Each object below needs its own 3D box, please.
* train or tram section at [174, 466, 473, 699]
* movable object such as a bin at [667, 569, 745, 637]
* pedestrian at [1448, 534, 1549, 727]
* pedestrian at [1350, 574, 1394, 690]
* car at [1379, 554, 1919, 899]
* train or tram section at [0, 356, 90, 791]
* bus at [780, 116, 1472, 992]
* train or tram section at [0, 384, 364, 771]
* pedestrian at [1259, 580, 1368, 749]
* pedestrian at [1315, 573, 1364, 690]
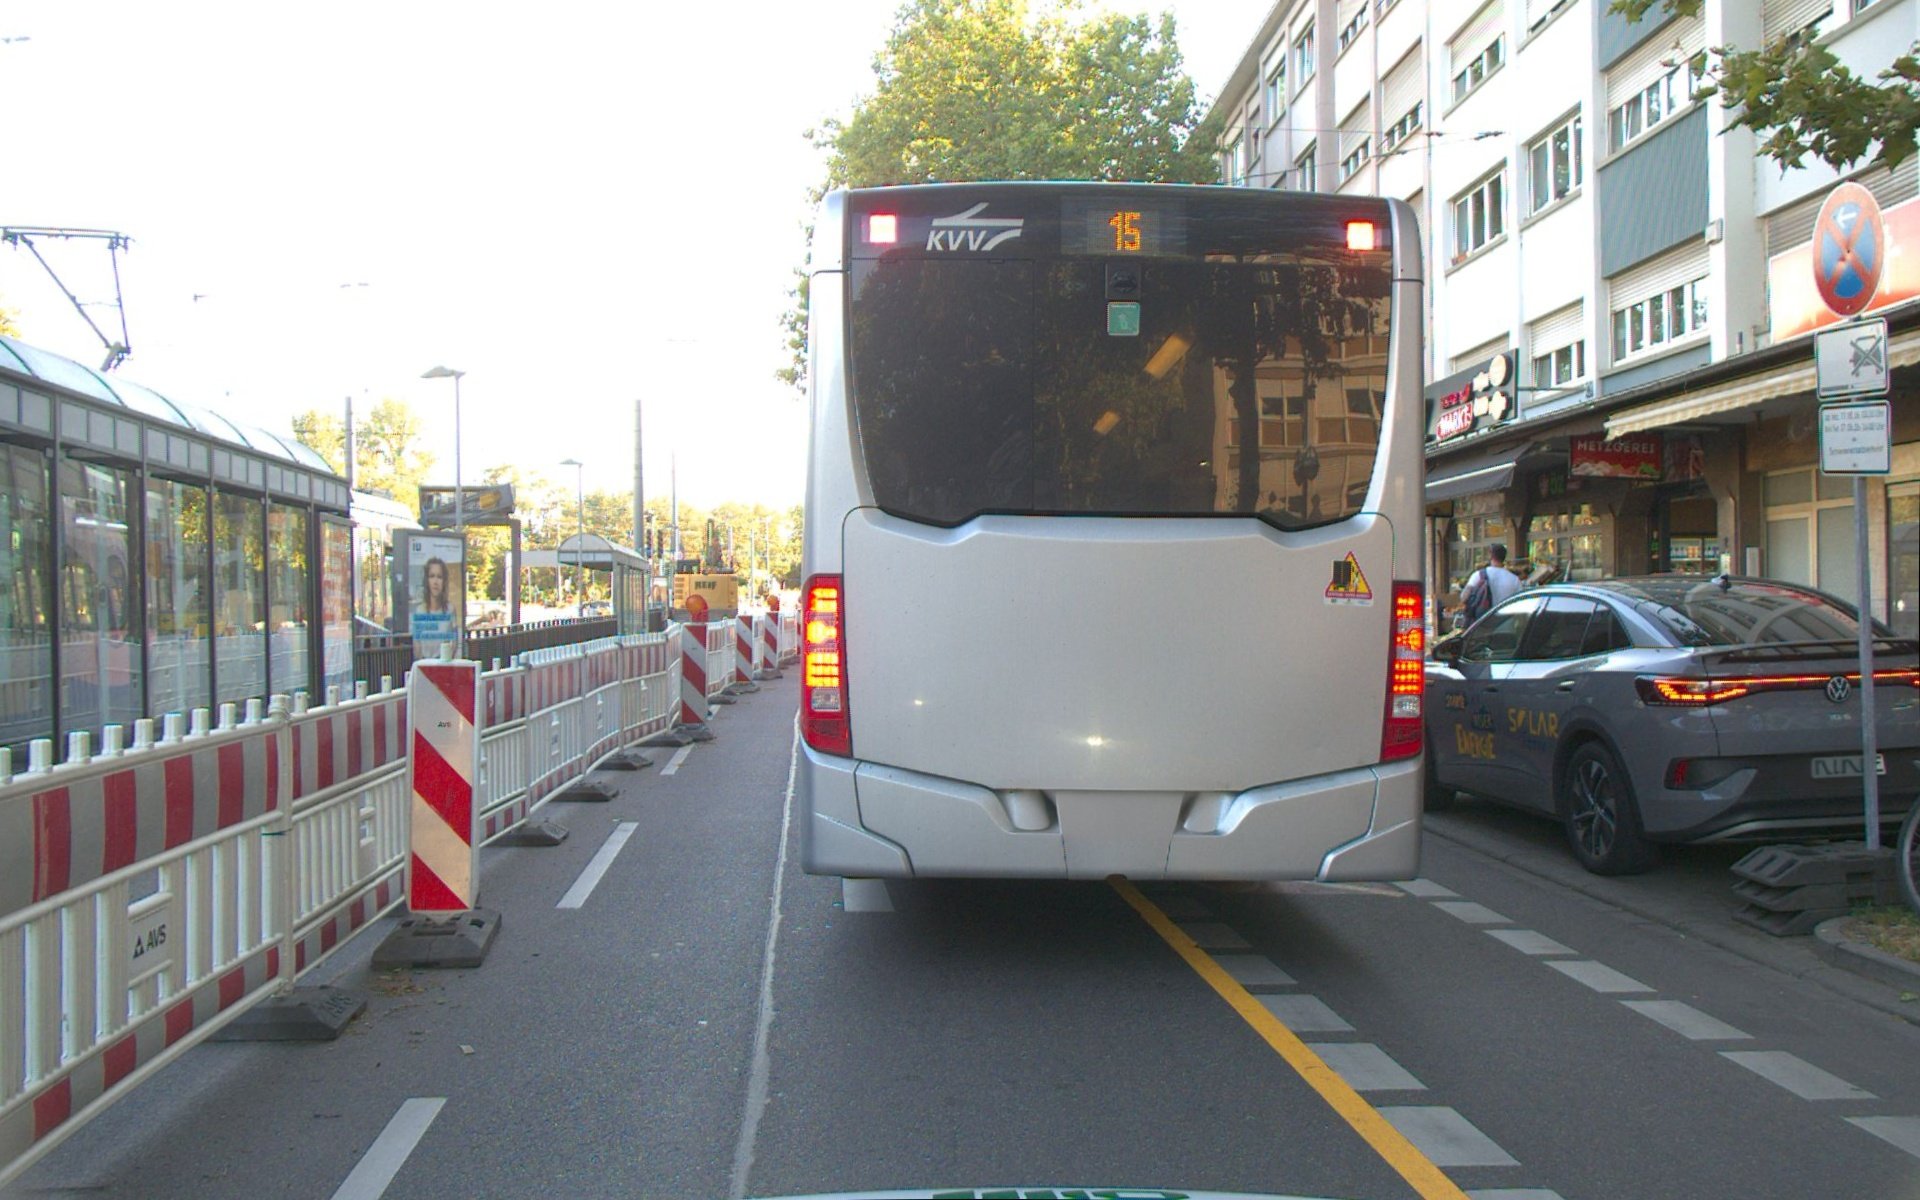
[{"bbox_3d":[-11.240,-0.261,30.448,2.763,3.548,10.321,0,0,-7],"label":"train or tram section"},{"bbox_3d":[-9.702,0.099,63.518,2.752,2.505,3.995,0,0,-6],"label":"movable object such as a bin"},{"bbox_3d":[5.893,0.325,18.129,0.754,2.049,0.713,-2,0,-6],"label":"pedestrian"},{"bbox_3d":[7.394,0.573,29.698,0.600,2.049,0.696,-1,0,-1],"label":"pedestrian"},{"bbox_3d":[4.218,0.609,10.315,1.706,1.625,4.294,-3,0,-5],"label":"car"},{"bbox_3d":[-8.828,-0.222,9.982,2.816,3.548,10.322,0,0,-7],"label":"train or tram section"},{"bbox_3d":[0.578,-0.184,11.256,2.555,3.225,10.290,0,0,-1],"label":"bus"},{"bbox_3d":[-10.000,-0.195,20.220,2.781,3.548,10.323,0,0,-7],"label":"train or tram section"},{"bbox_3d":[3.493,0.619,16.319,0.737,1.608,0.873,-1,-1,37],"label":"pedestrian"},{"bbox_3d":[6.750,0.549,29.426,0.677,2.049,0.696,-1,0,-1],"label":"pedestrian"}]
